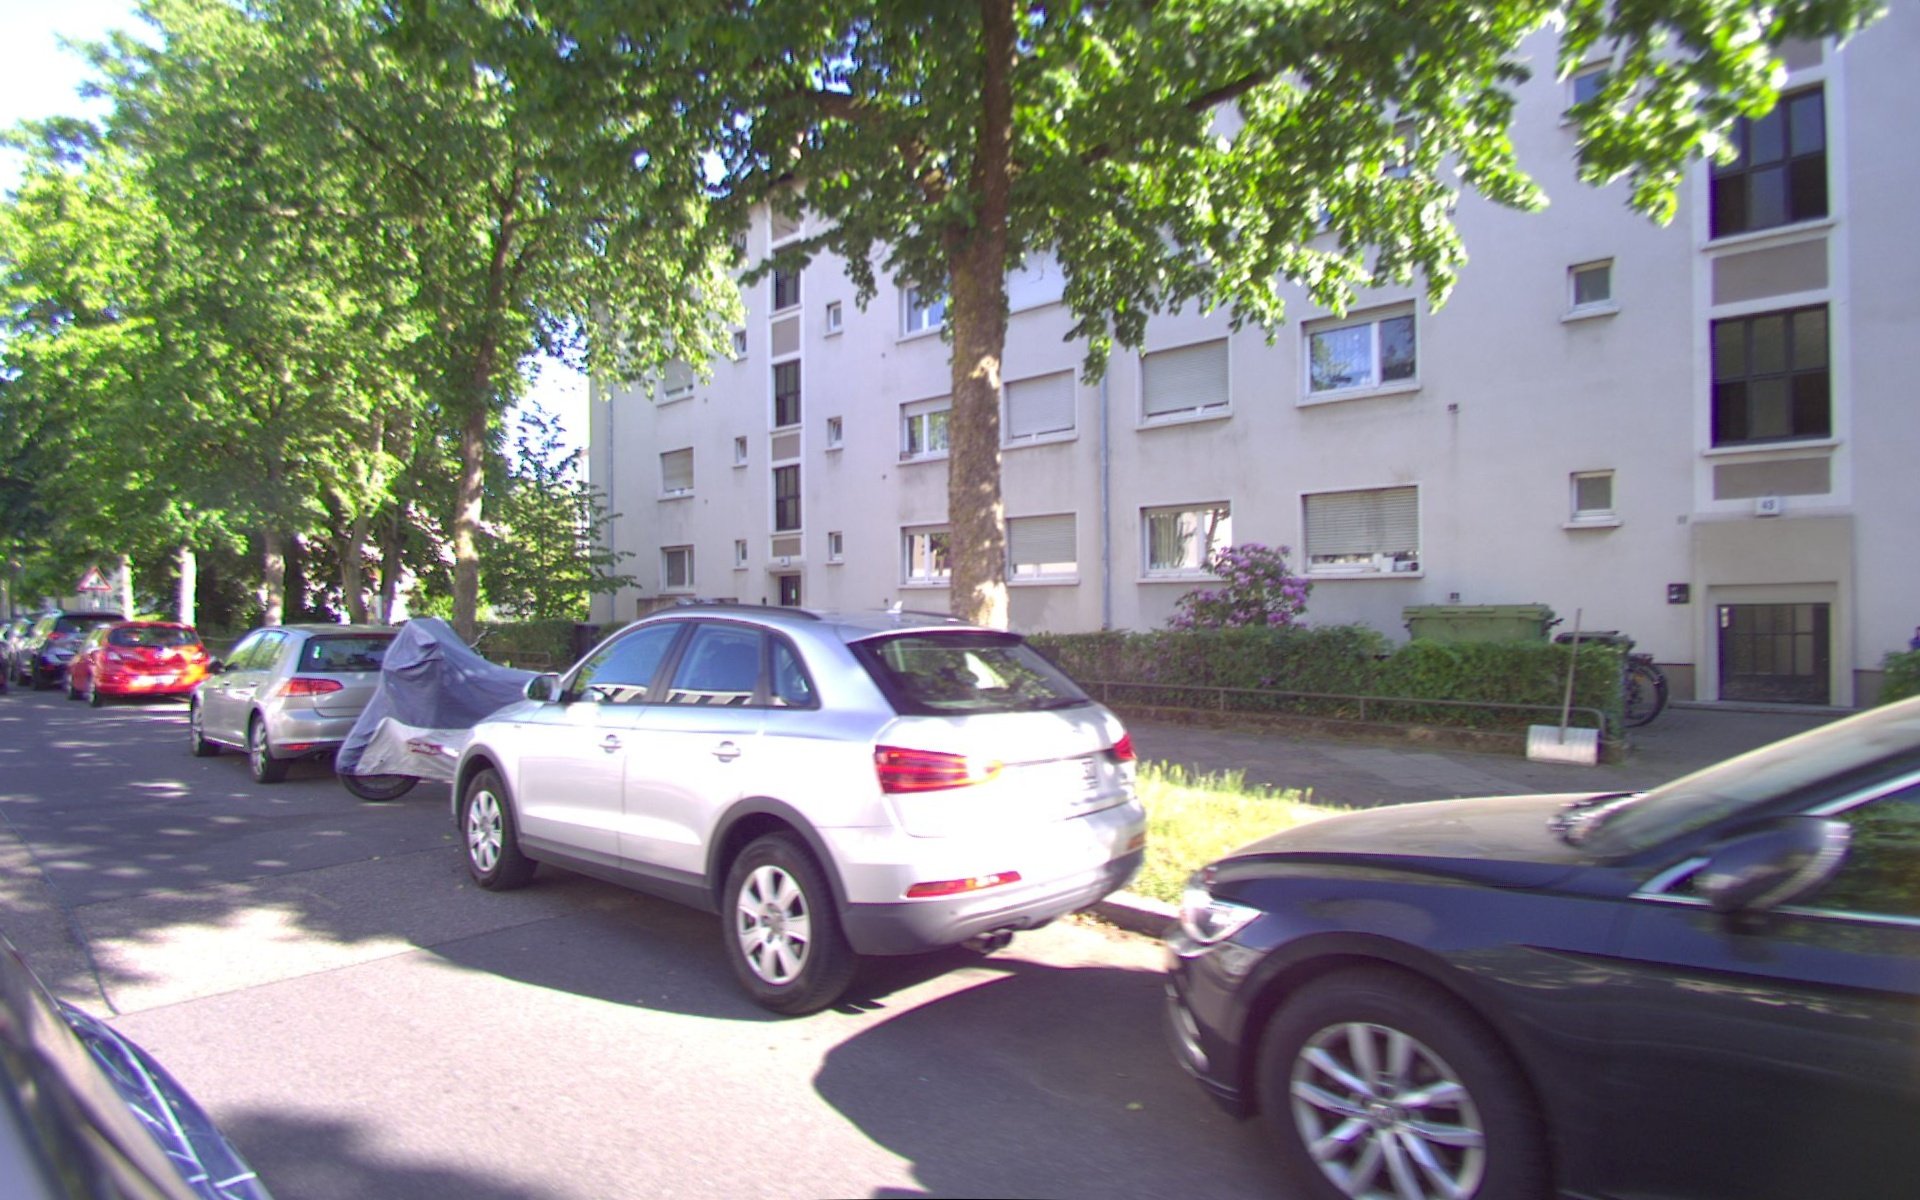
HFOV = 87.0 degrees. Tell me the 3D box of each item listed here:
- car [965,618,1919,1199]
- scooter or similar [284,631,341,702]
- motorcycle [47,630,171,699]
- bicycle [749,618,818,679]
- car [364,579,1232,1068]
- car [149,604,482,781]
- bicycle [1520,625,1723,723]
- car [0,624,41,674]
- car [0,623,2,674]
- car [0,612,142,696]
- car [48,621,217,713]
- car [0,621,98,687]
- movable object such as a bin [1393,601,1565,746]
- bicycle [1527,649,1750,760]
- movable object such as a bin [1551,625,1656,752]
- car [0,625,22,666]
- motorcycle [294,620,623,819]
[{"bbox_3d":[2.386,0.793,2.173,4.818,1.458,1.710,-2,-4,41],"label":"car"},{"bbox_3d":[-12.113,1.221,18.963,0.547,1.244,1.518,0,-1,-19],"label":"scooter or similar"},{"bbox_3d":[-17.619,1.303,21.003,1.929,1.342,0.788,1,-2,-40],"label":"motorcycle"},{"bbox_3d":[-3.916,1.055,22.332,1.913,1.299,0.394,-1,-2,41],"label":"bicycle"},{"bbox_3d":[-1.183,0.754,5.492,4.717,1.536,2.044,-1,-1,39],"label":"car"},{"bbox_3d":[-7.222,0.845,11.125,4.606,1.536,2.020,-1,-1,43],"label":"car"},{"bbox_3d":[7.718,0.817,11.851,1.933,1.049,0.779,-1,-1,38],"label":"bicycle"},{"bbox_3d":[-31.763,1.576,33.433,4.481,1.589,1.687,-1,-2,43],"label":"car"},{"bbox_3d":[-20.974,1.175,20.524,4.364,1.457,1.790,-1,-3,41],"label":"car"},{"bbox_3d":[-20.038,1.158,22.738,4.812,1.701,1.749,-1,-2,41],"label":"car"},{"bbox_3d":[-15.301,1.148,18.645,4.181,1.481,1.836,-2,-1,42],"label":"car"},{"bbox_3d":[-23.874,1.342,26.297,4.419,1.543,1.750,-1,-1,43],"label":"car"},{"bbox_3d":[5.150,0.688,10.054,1.376,1.334,0.921,-1,-2,37],"label":"movable object such as a bin"},{"bbox_3d":[7.378,1.091,11.059,1.935,1.049,0.778,-1,-1,42],"label":"bicycle"},{"bbox_3d":[6.001,0.789,9.428,0.753,1.100,0.921,-1,-2,36],"label":"movable object such as a bin"},{"bbox_3d":[-36.883,1.698,38.237,4.066,1.516,1.637,-1,-2,41],"label":"car"},{"bbox_3d":[-4.026,0.926,8.273,2.204,1.515,0.989,0,-2,2],"label":"motorcycle"}]
